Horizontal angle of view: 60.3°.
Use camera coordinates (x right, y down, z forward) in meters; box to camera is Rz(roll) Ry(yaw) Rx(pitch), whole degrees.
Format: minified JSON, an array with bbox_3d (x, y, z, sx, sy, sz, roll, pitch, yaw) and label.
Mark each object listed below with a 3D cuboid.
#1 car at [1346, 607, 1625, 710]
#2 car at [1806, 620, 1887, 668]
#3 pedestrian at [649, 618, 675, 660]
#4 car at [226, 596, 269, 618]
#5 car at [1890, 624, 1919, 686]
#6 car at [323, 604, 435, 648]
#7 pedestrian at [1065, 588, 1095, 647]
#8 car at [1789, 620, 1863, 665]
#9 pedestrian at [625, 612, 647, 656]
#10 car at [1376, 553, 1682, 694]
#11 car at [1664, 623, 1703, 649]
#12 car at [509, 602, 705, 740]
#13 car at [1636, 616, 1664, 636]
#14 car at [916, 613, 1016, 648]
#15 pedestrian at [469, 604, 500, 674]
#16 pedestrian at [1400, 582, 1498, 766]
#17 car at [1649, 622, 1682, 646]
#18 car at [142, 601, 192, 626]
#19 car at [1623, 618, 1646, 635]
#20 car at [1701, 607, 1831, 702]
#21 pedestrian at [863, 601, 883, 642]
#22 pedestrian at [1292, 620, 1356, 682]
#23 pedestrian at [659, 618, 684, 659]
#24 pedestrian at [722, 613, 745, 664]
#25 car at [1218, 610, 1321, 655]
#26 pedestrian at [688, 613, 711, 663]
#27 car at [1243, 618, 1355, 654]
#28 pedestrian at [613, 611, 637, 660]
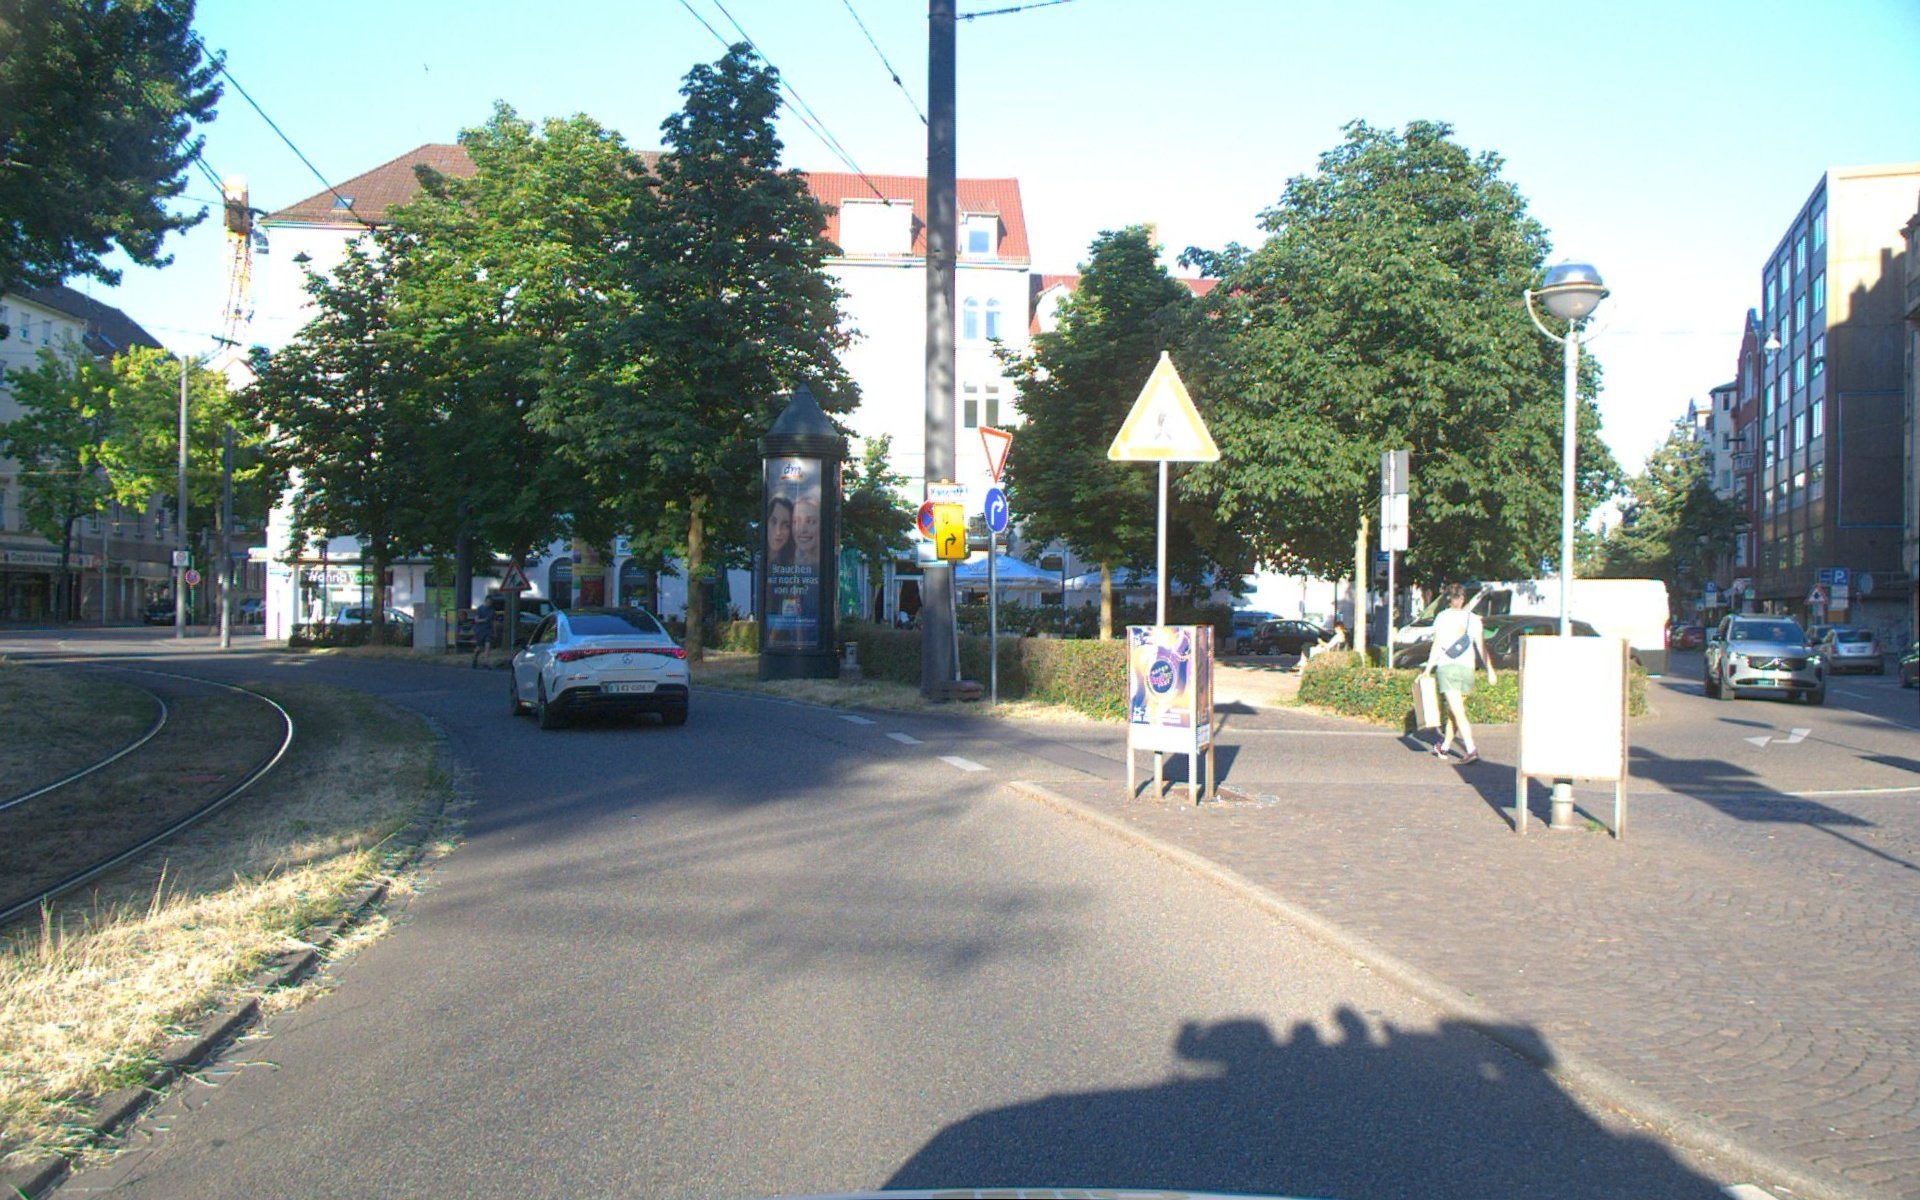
[{"bbox_3d":[8.474,0.929,26.788,3.919,1.579,1.872,1,0,-14],"label":"car"},{"bbox_3d":[29.415,1.444,54.942,1.715,1.537,3.547,-1,-1,18],"label":"car"},{"bbox_3d":[-9.883,1.286,54.857,0.652,1.376,0.660,1,-1,7],"label":"pedestrian"},{"bbox_3d":[-50.707,0.482,117.805,1.623,1.502,3.623,1,0,-3],"label":"car"},{"bbox_3d":[25.202,1.392,42.247,1.715,1.537,3.977,-1,-1,18],"label":"car"},{"bbox_3d":[-21.428,0.952,61.079,3.541,1.579,1.661,1,0,-3],"label":"car"},{"bbox_3d":[3.997,0.576,55.067,0.913,1.957,0.858,1,-1,6],"label":"pedestrian"},{"bbox_3d":[30.922,1.498,59.127,1.715,1.537,3.547,-1,-1,18],"label":"car"},{"bbox_3d":[-10.473,1.107,53.478,0.522,1.403,0.660,1,-1,7],"label":"pedestrian"},{"bbox_3d":[11.320,0.471,33.105,5.406,2.640,2.151,1,0,-7],"label":"car"},{"bbox_3d":[43.175,2.143,98.780,1.715,1.537,3.547,-1,-1,18],"label":"car"},{"bbox_3d":[-4.692,0.830,21.535,1.838,1.466,4.171,-3,1,-21],"label":"car"},{"bbox_3d":[54.398,2.038,130.390,1.715,1.537,3.547,-1,-1,18],"label":"car"},{"bbox_3d":[0.218,1.223,66.823,3.908,1.324,1.851,1,0,-4],"label":"car"},{"bbox_3d":[-10.965,0.890,38.131,0.553,1.594,0.589,1,0,-26],"label":"pedestrian"},{"bbox_3d":[4.806,0.706,16.309,0.841,1.736,0.942,1,0,13],"label":"pedestrian"},{"bbox_3d":[47.435,2.257,111.287,1.715,1.537,3.547,-1,-1,18],"label":"car"},{"bbox_3d":[-50.140,0.856,104.644,1.624,1.502,3.621,1,0,-5],"label":"car"},{"bbox_3d":[65.118,2.535,159.642,1.715,1.537,3.547,-1,-1,18],"label":"car"},{"bbox_3d":[16.798,1.081,34.645,1.952,1.803,4.001,1,0,19],"label":"car"},{"bbox_3d":[-4.109,1.008,78.265,0.838,1.899,0.935,1,-1,-7],"label":"pedestrian"},{"bbox_3d":[7.678,1.062,34.881,1.076,1.248,0.859,2,0,-7],"label":"pedestrian"},{"bbox_3d":[-9.691,1.291,55.619,0.652,1.376,0.660,1,-1,7],"label":"pedestrian"},{"bbox_3d":[-7.116,1.207,51.926,0.522,1.576,0.660,1,-1,7],"label":"pedestrian"},{"bbox_3d":[12.953,1.351,69.440,3.908,1.813,1.851,1,0,-4],"label":"car"},{"bbox_3d":[-8.076,1.180,51.229,0.522,1.524,0.660,1,-1,7],"label":"pedestrian"},{"bbox_3d":[13.168,1.380,64.334,3.908,1.324,1.851,1,0,-4],"label":"car"},{"bbox_3d":[-10.497,1.108,51.794,0.522,1.524,0.660,1,-1,7],"label":"pedestrian"}]
